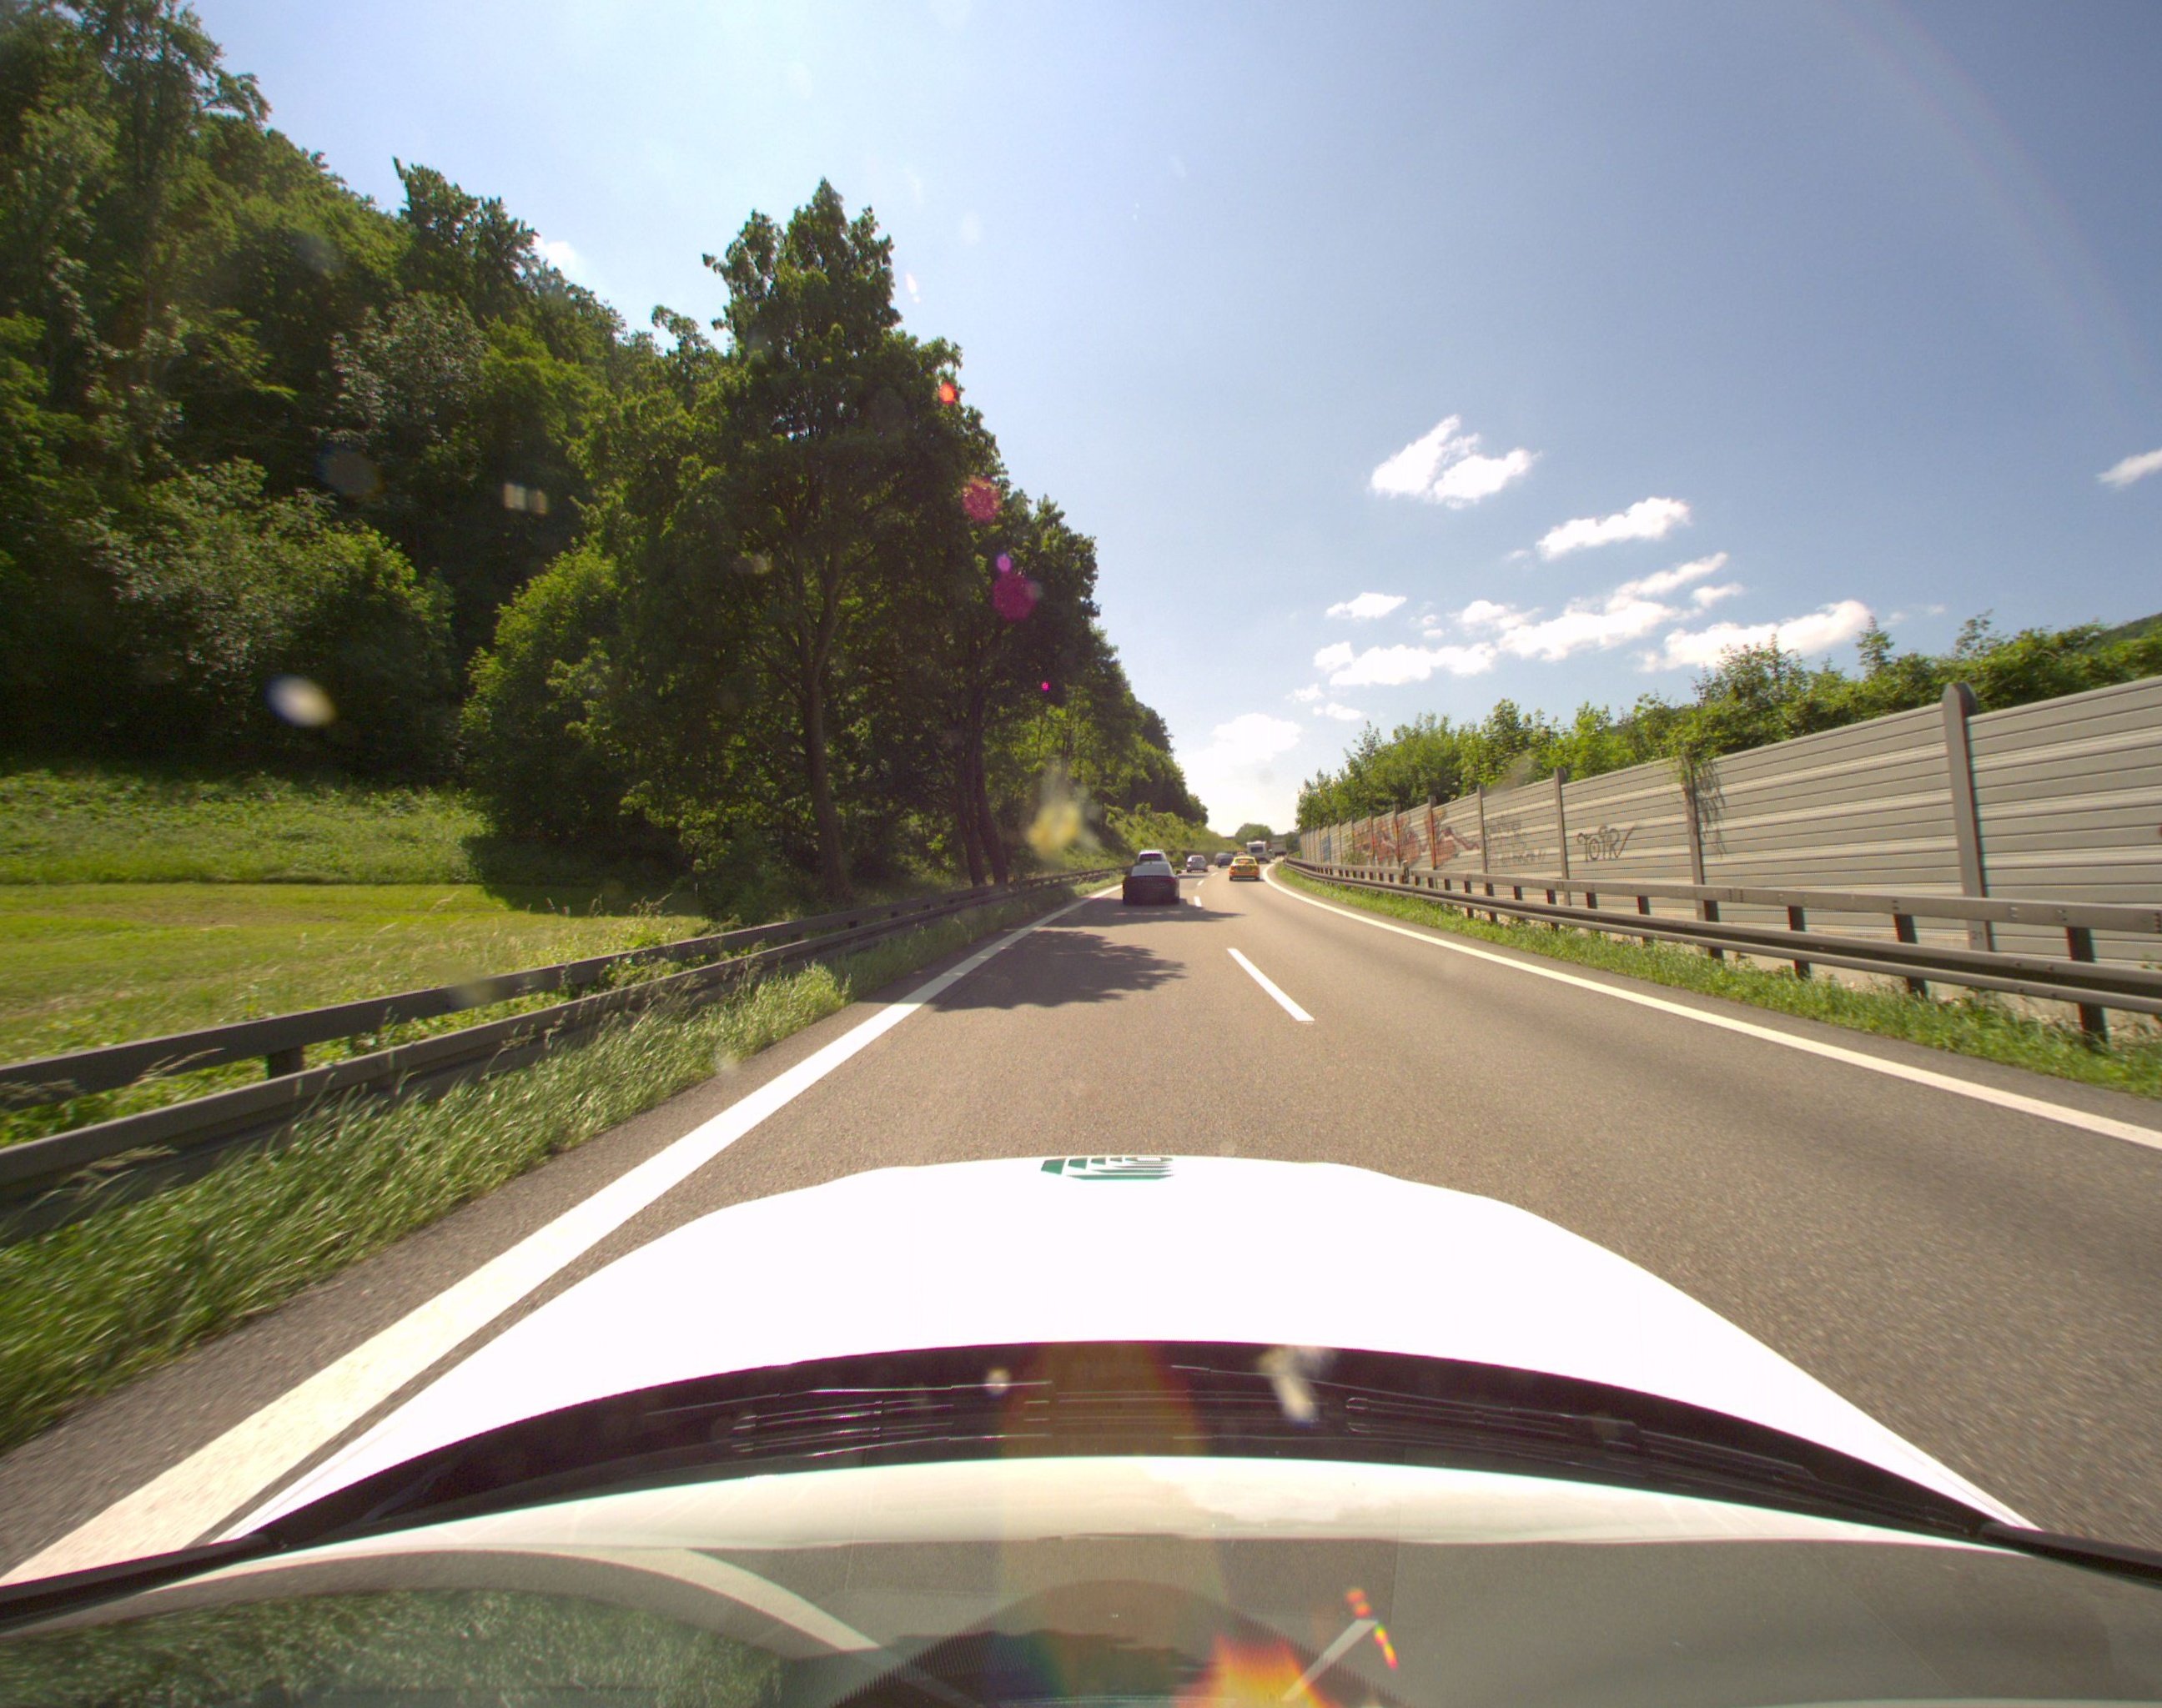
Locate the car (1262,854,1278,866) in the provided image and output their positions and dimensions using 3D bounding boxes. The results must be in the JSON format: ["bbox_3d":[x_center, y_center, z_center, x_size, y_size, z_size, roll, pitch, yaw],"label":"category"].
[{"bbox_3d":[29.632,0.934,127.495,1.977,1.717,4.020,-2,0,19],"label":"car"}]

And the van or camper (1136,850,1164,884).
[{"bbox_3d":[3.965,0.741,46.141,1.384,1.816,4.008,-1,-1,7],"label":"van or camper"}]

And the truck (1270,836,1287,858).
[{"bbox_3d":[37.513,-1.327,154.286,2.712,4.096,7.510,-2,0,15],"label":"truck"}]

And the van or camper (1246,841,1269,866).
[{"bbox_3d":[21.545,-0.038,99.224,2.438,2.918,6.148,-2,-1,14],"label":"van or camper"}]

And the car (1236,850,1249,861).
[{"bbox_3d":[26.008,0.190,130.999,1.827,1.717,4.016,-2,0,15],"label":"car"}]

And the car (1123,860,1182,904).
[{"bbox_3d":[2.492,0.935,28.015,1.828,1.349,4.006,-1,-1,6],"label":"car"}]

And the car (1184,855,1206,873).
[{"bbox_3d":[9.880,0.868,70.516,1.737,1.431,4.009,-1,-1,8],"label":"car"}]

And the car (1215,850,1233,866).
[{"bbox_3d":[15.204,0.419,86.630,1.762,1.637,4.010,-1,-1,10],"label":"car"}]

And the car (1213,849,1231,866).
[{"bbox_3d":[17.428,0.422,100.674,1.980,2.013,4.013,-2,0,11],"label":"car"}]

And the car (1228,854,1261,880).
[{"bbox_3d":[9.921,0.779,49.308,1.850,1.488,4.013,-1,-1,12],"label":"car"}]
